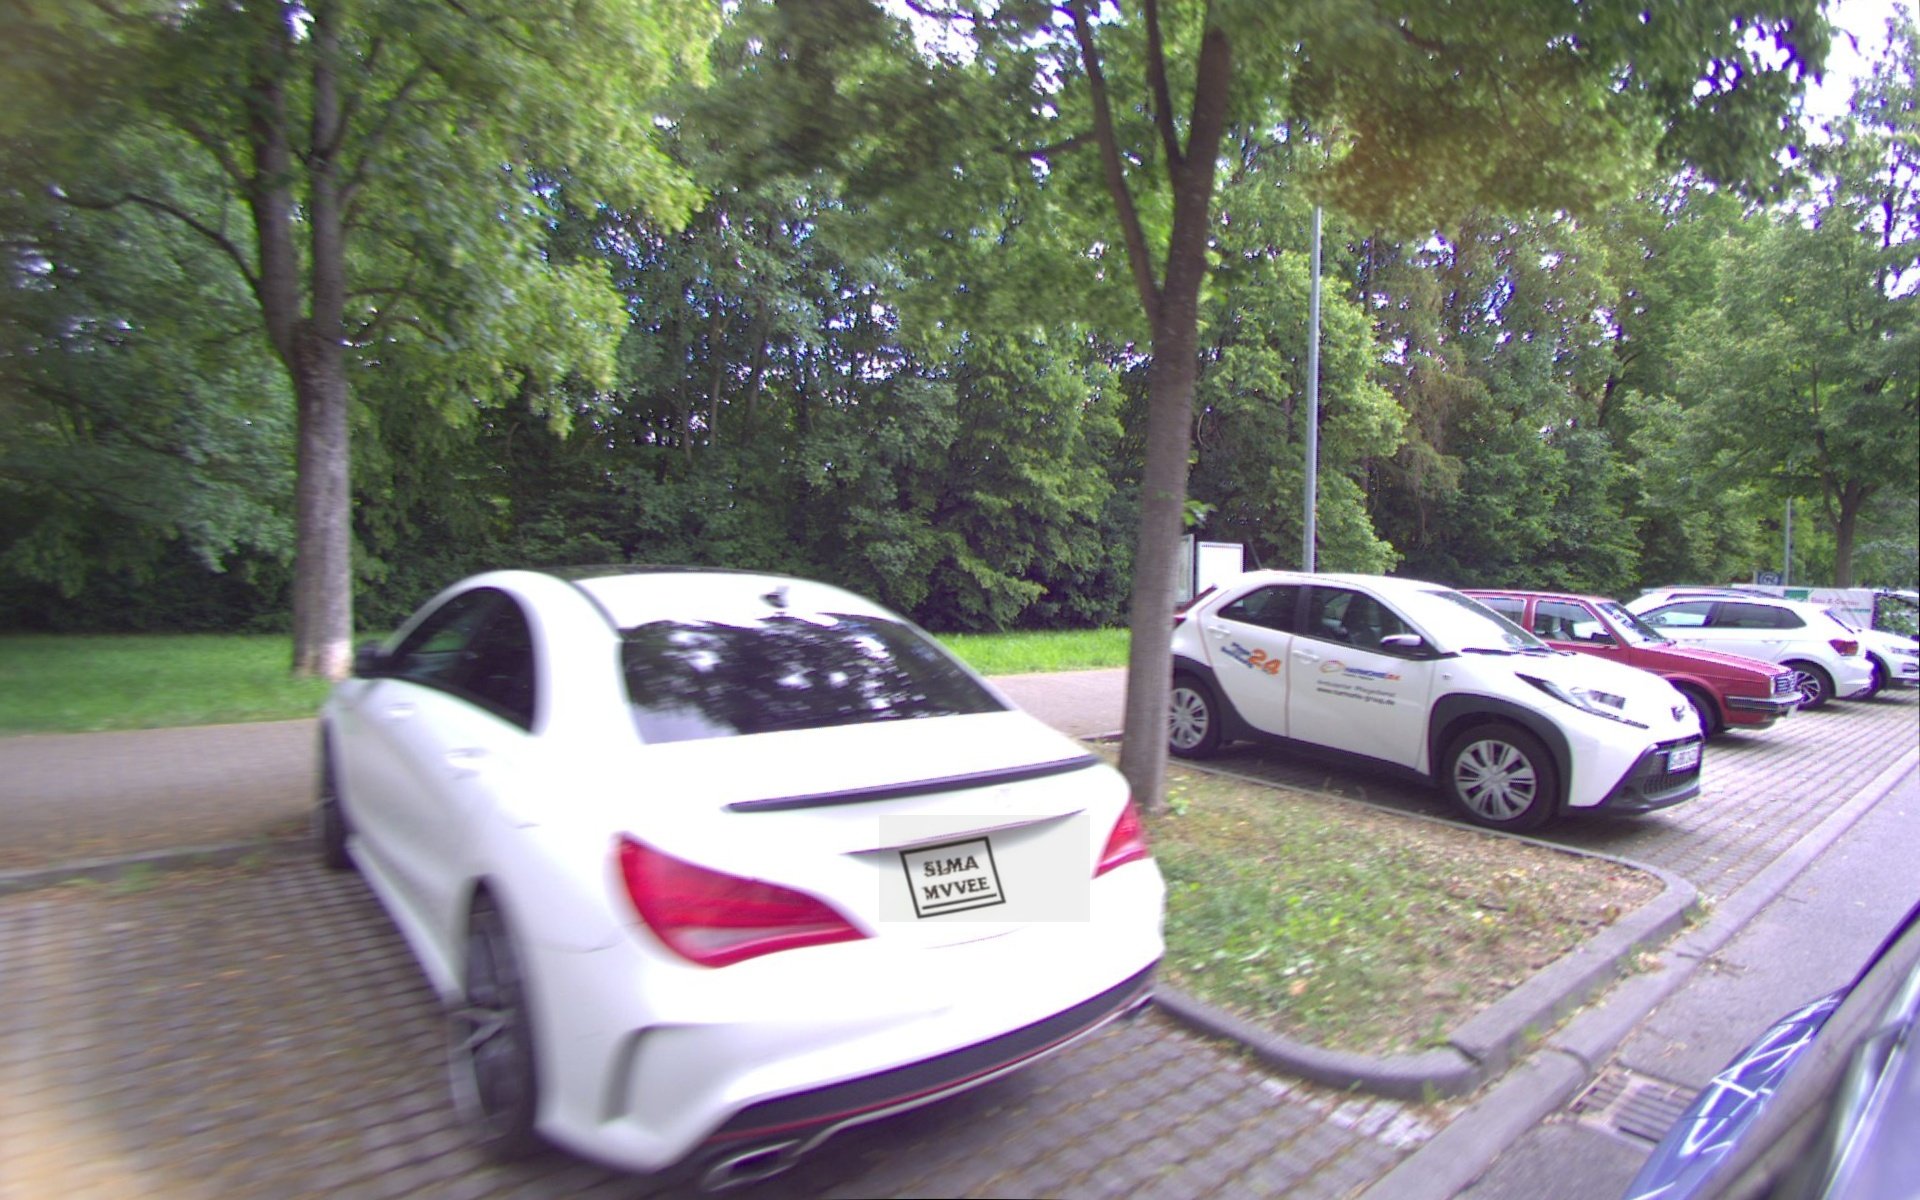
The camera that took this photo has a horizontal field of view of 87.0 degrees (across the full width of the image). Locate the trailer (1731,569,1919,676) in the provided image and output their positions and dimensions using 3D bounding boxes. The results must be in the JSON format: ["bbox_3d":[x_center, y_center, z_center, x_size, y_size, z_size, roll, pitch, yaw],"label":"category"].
[{"bbox_3d":[16.746,0.372,19.256,1.537,1.812,3.034,0,3,-43],"label":"trailer"}]

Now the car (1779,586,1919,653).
[{"bbox_3d":[24.300,0.497,26.451,1.818,1.590,4.169,0,2,-39],"label":"car"}]

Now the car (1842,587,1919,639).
[{"bbox_3d":[31.407,0.445,32.743,1.755,1.590,4.142,0,2,-42],"label":"car"}]

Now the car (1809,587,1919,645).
[{"bbox_3d":[27.724,0.482,29.663,1.757,1.590,4.162,0,2,-44],"label":"car"}]

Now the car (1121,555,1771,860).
[{"bbox_3d":[3.262,0.503,7.446,1.846,1.534,3.852,0,3,-38],"label":"car"}]

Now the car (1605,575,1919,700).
[{"bbox_3d":[12.758,0.489,15.849,1.830,1.567,4.119,0,3,-43],"label":"car"}]

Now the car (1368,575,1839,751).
[{"bbox_3d":[6.943,0.530,11.267,1.785,1.439,4.062,0,3,-41],"label":"car"}]

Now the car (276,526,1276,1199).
[{"bbox_3d":[-1.282,0.493,3.933,1.814,1.472,4.496,0,3,-40],"label":"car"}]

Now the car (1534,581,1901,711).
[{"bbox_3d":[10.774,0.535,14.593,4.010,1.439,1.763,4,3,44],"label":"car"}]

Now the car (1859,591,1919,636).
[{"bbox_3d":[33.415,0.505,34.384,1.755,1.482,4.093,0,2,-42],"label":"car"}]

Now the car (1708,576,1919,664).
[{"bbox_3d":[20.210,0.415,22.947,1.937,1.714,4.833,0,3,-37],"label":"car"}]
